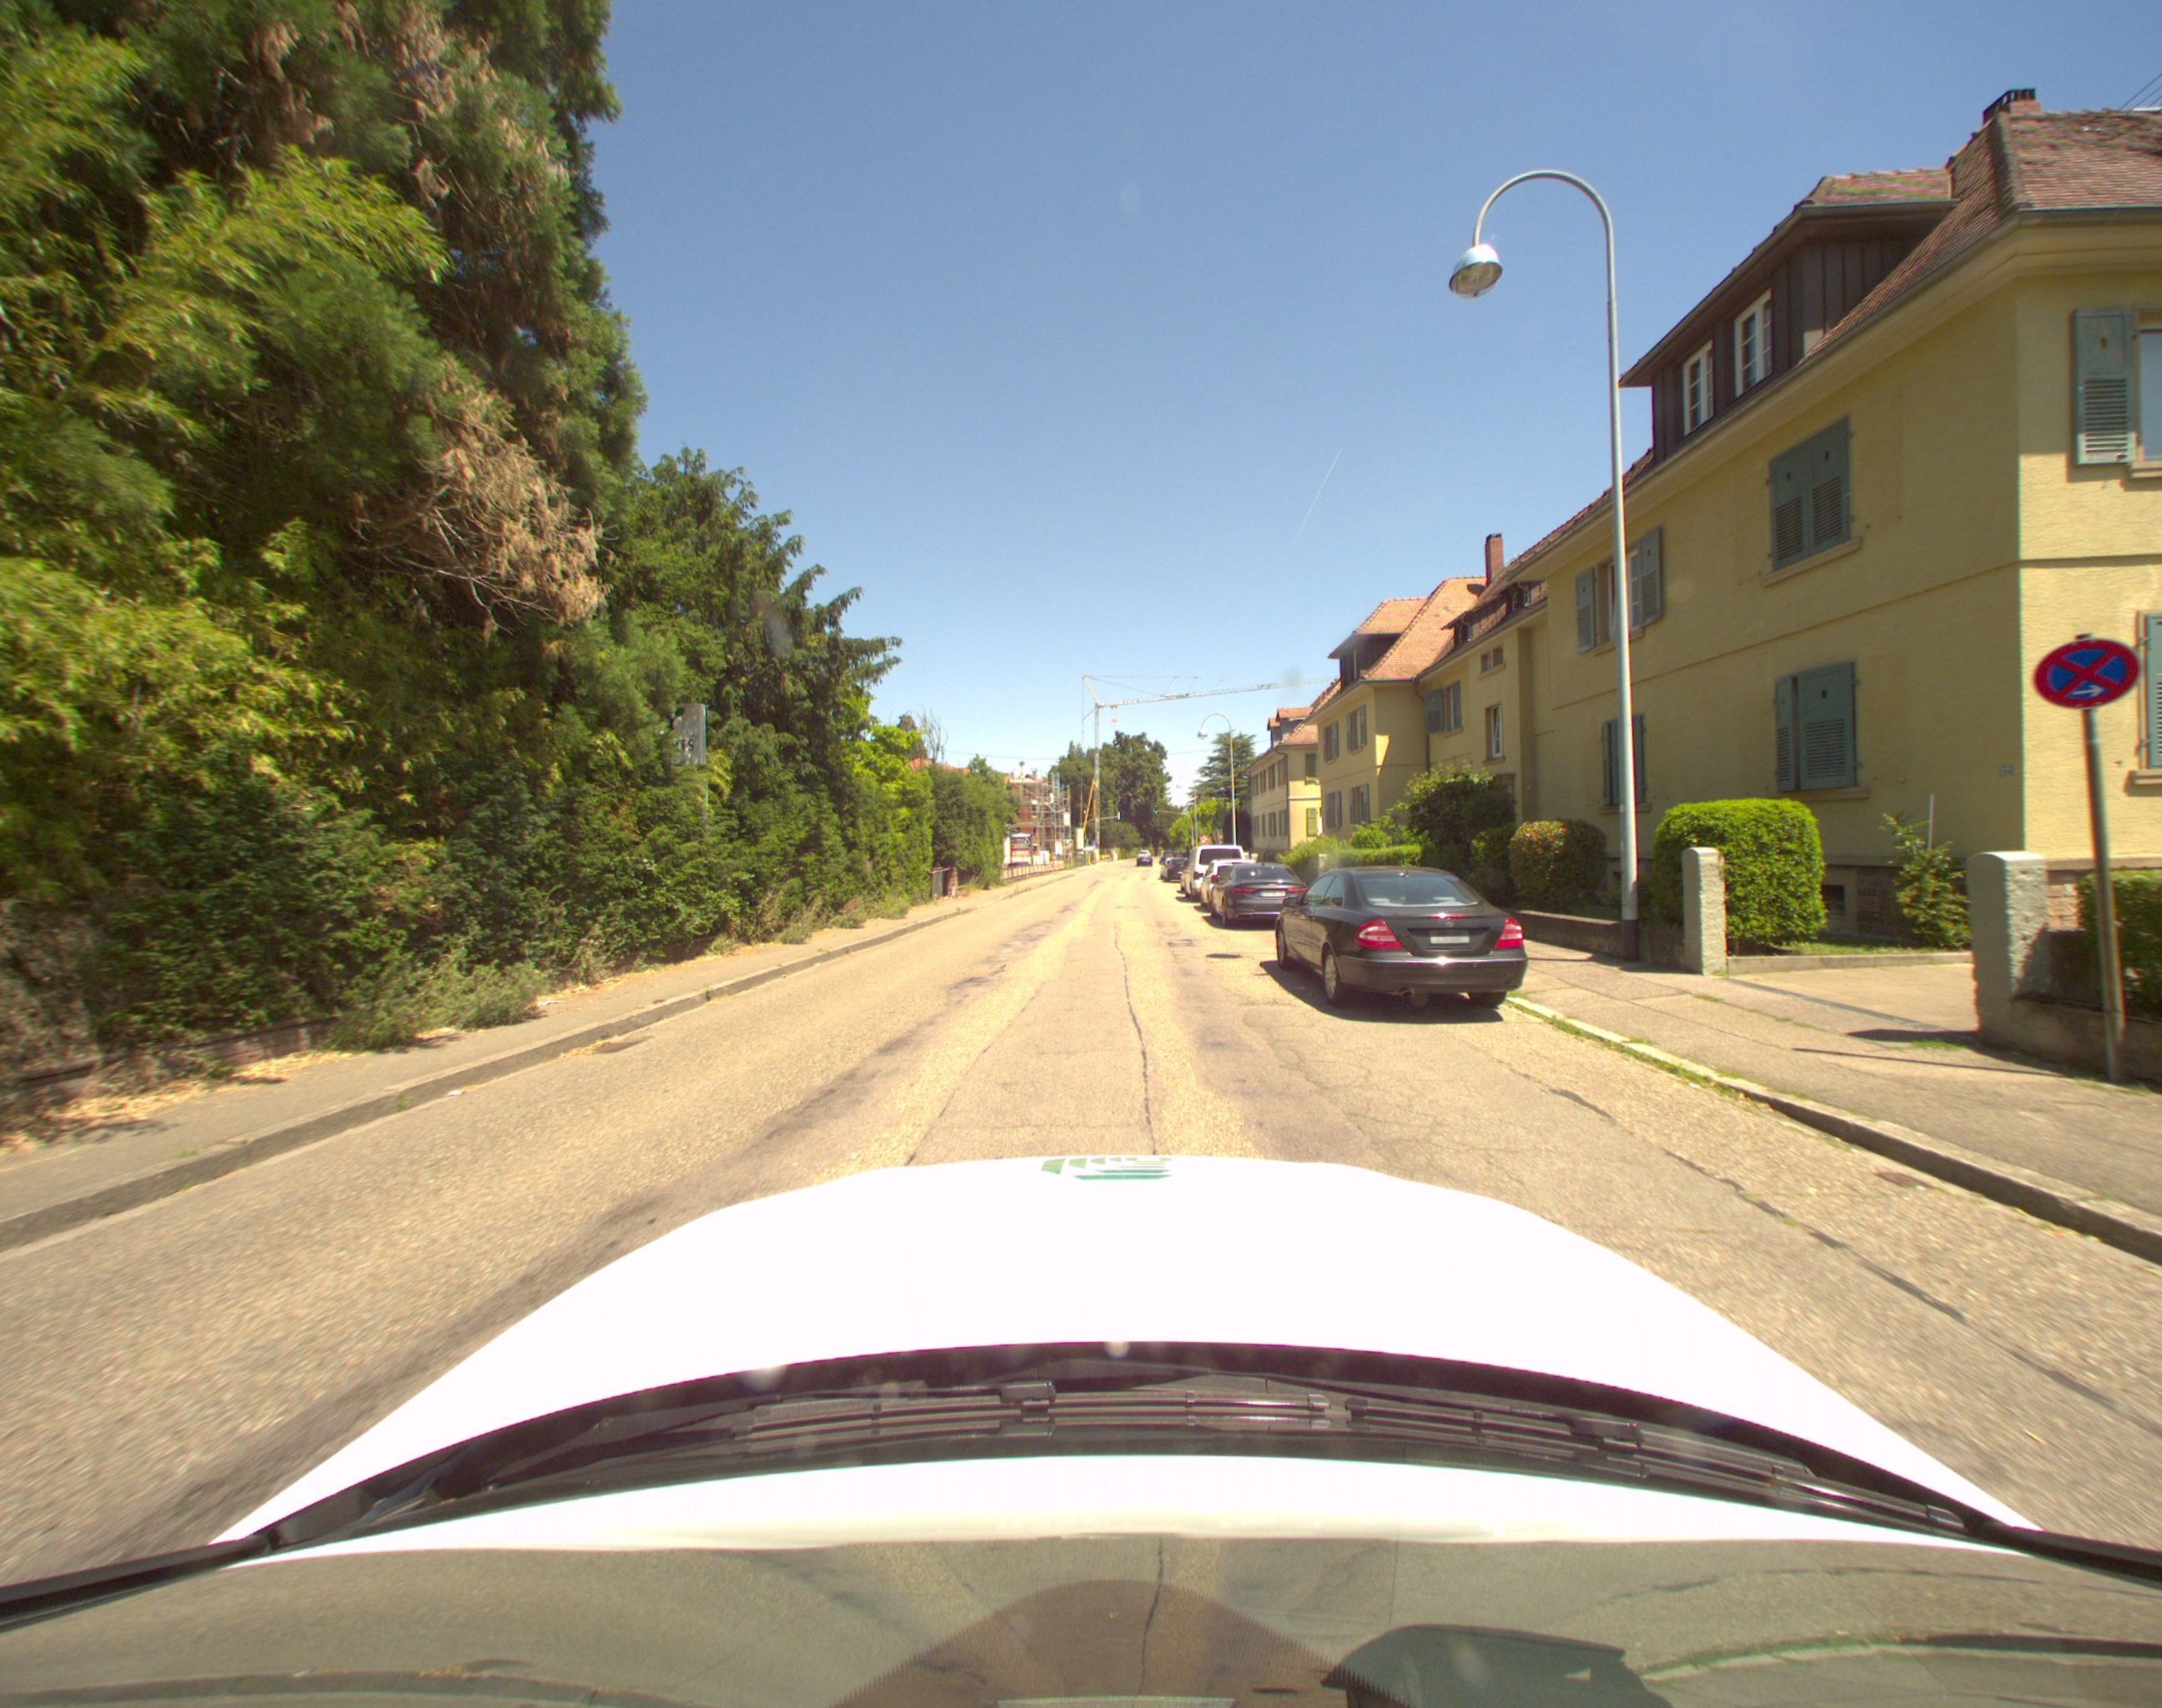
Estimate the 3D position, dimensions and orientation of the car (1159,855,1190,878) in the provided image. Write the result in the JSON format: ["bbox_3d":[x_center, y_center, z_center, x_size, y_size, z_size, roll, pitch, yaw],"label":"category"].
[{"bbox_3d":[6.231,0.806,54.729,1.754,1.451,3.892,-1,0,2],"label":"car"}]

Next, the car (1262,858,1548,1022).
[{"bbox_3d":[3.369,0.786,9.491,1.686,1.419,4.554,-1,-1,3],"label":"car"}]

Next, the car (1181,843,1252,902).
[{"bbox_3d":[4.746,0.604,29.127,1.985,1.901,4.826,1,0,3],"label":"car"}]

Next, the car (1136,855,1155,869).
[{"bbox_3d":[7.670,0.926,95.882,1.947,1.468,4.010,-1,1,8],"label":"car"}]

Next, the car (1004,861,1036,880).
[{"bbox_3d":[-4.675,1.247,63.063,1.650,1.389,3.544,-2,0,9],"label":"car"}]

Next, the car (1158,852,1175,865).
[{"bbox_3d":[10.882,0.537,103.571,1.982,1.574,4.009,-2,0,8],"label":"car"}]

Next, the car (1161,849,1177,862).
[{"bbox_3d":[11.700,0.211,108.337,1.982,1.662,4.009,-2,0,8],"label":"car"}]

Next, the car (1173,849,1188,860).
[{"bbox_3d":[15.971,0.127,130.728,1.981,1.662,4.012,-2,0,10],"label":"car"}]

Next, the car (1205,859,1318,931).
[{"bbox_3d":[3.984,0.845,18.723,1.754,1.371,4.610,-1,0,2],"label":"car"}]

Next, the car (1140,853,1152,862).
[{"bbox_3d":[10.926,0.649,137.027,1.751,1.451,3.847,-1,0,7],"label":"car"}]

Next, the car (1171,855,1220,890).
[{"bbox_3d":[5.043,0.795,36.426,1.754,1.451,4.225,-1,0,2],"label":"car"}]

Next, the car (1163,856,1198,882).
[{"bbox_3d":[5.940,0.872,48.959,1.754,1.451,3.842,-1,0,2],"label":"car"}]

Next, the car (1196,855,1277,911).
[{"bbox_3d":[4.407,0.771,23.571,1.754,1.451,3.650,-1,0,2],"label":"car"}]
